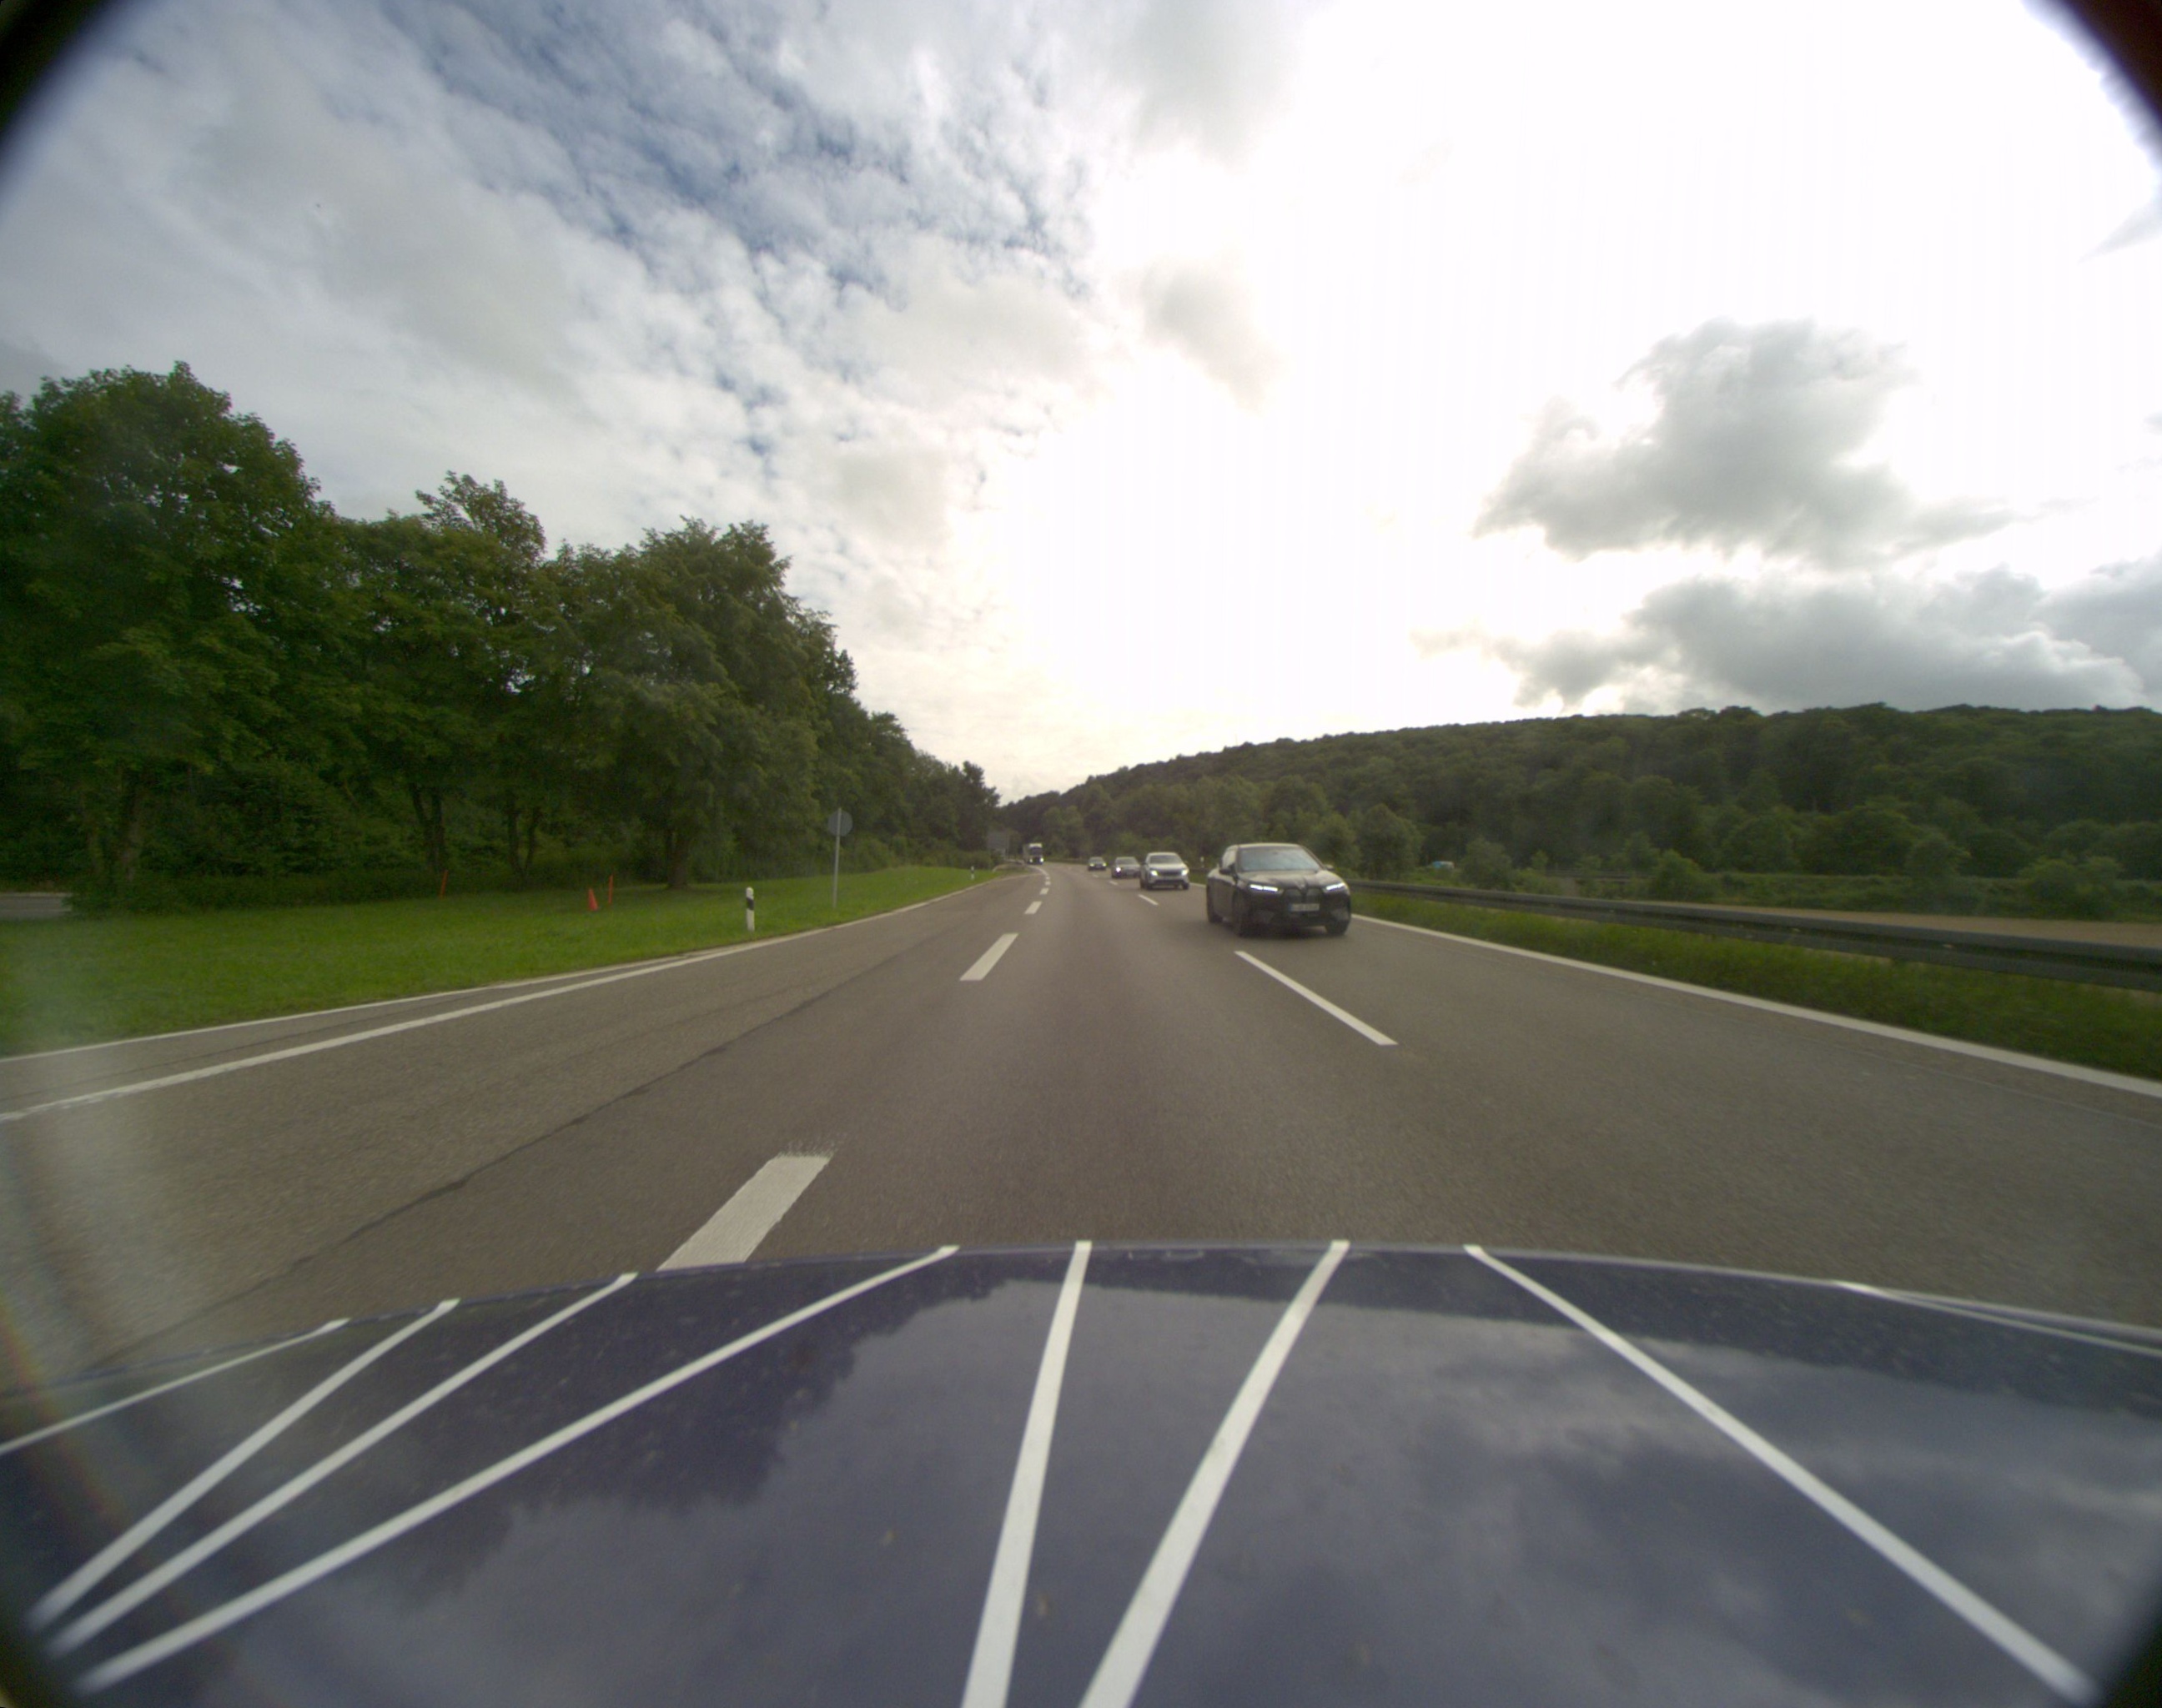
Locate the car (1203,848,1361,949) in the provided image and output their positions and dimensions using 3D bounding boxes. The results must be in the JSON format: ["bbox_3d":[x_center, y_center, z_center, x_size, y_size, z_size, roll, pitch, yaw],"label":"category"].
[{"bbox_3d":[3.743,0.741,15.017,1.998,1.656,4.415,-2,0,1],"label":"car"}]

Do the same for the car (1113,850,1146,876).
[{"bbox_3d":[3.388,0.607,53.424,1.999,1.656,4.414,-1,1,0],"label":"car"}]

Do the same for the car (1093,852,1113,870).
[{"bbox_3d":[2.279,0.686,79.583,1.998,1.656,4.414,0,2,2],"label":"car"}]

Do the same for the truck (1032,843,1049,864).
[{"bbox_3d":[-7.725,-0.137,146.360,2.795,3.949,5.939,-1,1,0],"label":"truck"}]

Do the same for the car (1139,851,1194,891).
[{"bbox_3d":[3.820,0.701,34.698,1.998,1.656,4.414,-1,1,0],"label":"car"}]

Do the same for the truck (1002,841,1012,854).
[{"bbox_3d":[-22.495,-1.895,230.254,2.796,3.949,5.937,-1,1,-4],"label":"truck"}]

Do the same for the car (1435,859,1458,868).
[{"bbox_3d":[86.788,2.263,180.426,2.005,1.798,4.444,3,1,-44],"label":"car"}]
